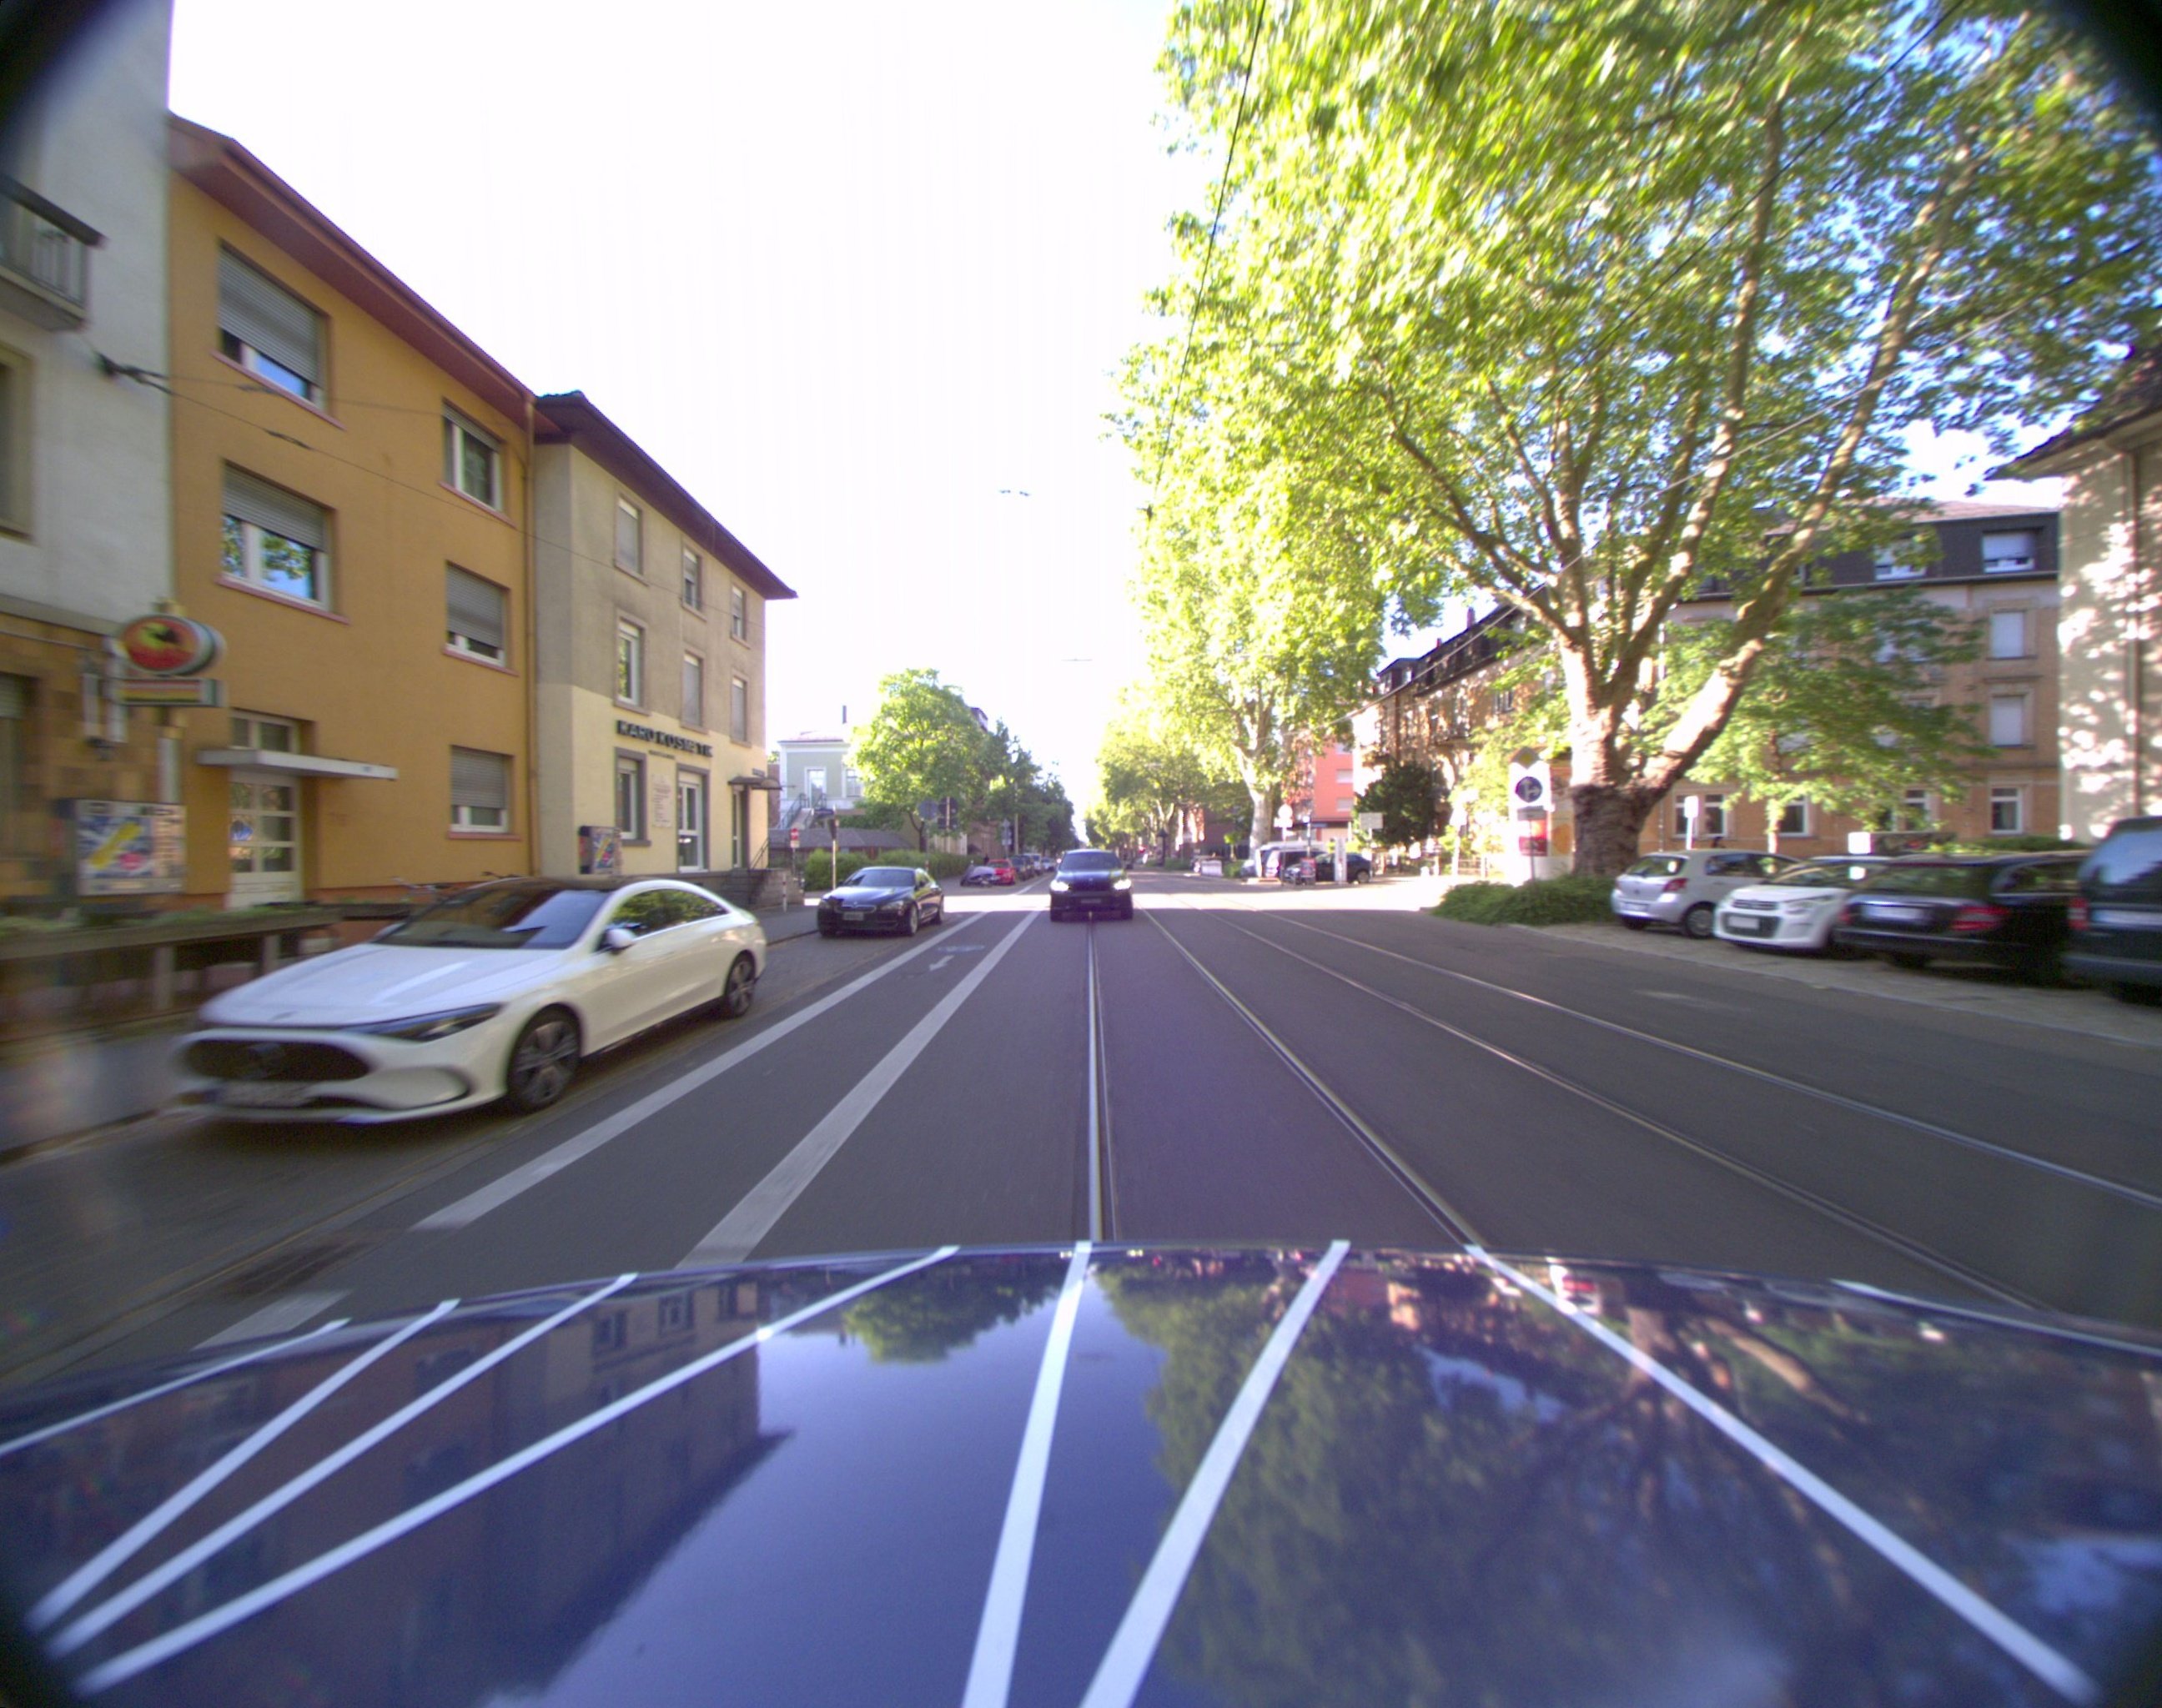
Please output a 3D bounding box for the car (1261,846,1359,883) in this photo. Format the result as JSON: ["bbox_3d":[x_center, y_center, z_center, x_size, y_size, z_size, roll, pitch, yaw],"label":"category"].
[{"bbox_3d":[11.961,0.543,39.876,4.464,1.755,2.028,-1,0,-1],"label":"car"}]

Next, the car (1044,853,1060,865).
[{"bbox_3d":[-3.675,0.639,96.549,1.781,1.490,4.372,1,0,1],"label":"car"}]

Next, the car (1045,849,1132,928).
[{"bbox_3d":[0.197,0.768,19.514,1.924,1.741,4.806,-1,0,1],"label":"car"}]

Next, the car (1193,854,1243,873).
[{"bbox_3d":[11.680,0.816,64.991,3.966,1.506,1.810,-1,0,-1],"label":"car"}]

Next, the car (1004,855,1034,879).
[{"bbox_3d":[-4.184,0.861,51.797,1.694,1.478,4.143,1,0,1],"label":"car"}]

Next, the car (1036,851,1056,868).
[{"bbox_3d":[-3.761,0.572,81.947,1.815,1.702,4.372,1,0,1],"label":"car"}]

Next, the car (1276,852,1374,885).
[{"bbox_3d":[11.894,0.693,37.224,4.170,1.506,1.925,-1,0,-1],"label":"car"}]

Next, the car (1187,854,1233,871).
[{"bbox_3d":[11.936,0.808,70.619,3.966,1.506,1.810,-1,0,-1],"label":"car"}]

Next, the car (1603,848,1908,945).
[{"bbox_3d":[11.636,0.707,13.338,3.689,1.545,1.704,-1,1,6],"label":"car"}]

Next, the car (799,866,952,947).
[{"bbox_3d":[-4.230,1.011,16.524,1.998,1.372,4.739,1,0,1],"label":"car"}]

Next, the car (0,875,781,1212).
[{"bbox_3d":[-4.422,1.014,6.166,1.998,1.485,4.740,1,0,1],"label":"car"}]

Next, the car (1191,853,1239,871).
[{"bbox_3d":[12.026,0.753,68.448,3.966,1.506,1.810,-1,0,-1],"label":"car"}]

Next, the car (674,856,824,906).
[{"bbox_3d":[-11.645,0.956,26.832,4.458,1.629,1.904,-1,-2,5],"label":"car"}]

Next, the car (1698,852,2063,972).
[{"bbox_3d":[11.308,0.756,10.898,3.693,1.477,1.701,-1,1,-6],"label":"car"}]

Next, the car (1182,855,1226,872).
[{"bbox_3d":[11.759,0.897,72.791,3.966,1.506,1.810,-1,0,-1],"label":"car"}]

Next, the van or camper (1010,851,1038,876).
[{"bbox_3d":[-4.226,0.692,56.824,1.694,1.772,4.443,1,0,1],"label":"van or camper"}]

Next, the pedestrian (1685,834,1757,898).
[{"bbox_3d":[16.196,0.292,19.256,1.093,1.568,1.028,-1,1,19],"label":"pedestrian"}]

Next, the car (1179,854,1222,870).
[{"bbox_3d":[11.838,0.829,75.648,3.966,1.506,1.810,-1,0,-1],"label":"car"}]

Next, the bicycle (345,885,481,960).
[{"bbox_3d":[-10.350,1.025,11.866,0.427,0.991,1.858,-1,0,1],"label":"bicycle"}]

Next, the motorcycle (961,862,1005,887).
[{"bbox_3d":[-5.047,1.052,39.121,2.071,1.152,0.828,2,1,4],"label":"motorcycle"}]

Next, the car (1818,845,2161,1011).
[{"bbox_3d":[11.146,0.746,8.755,3.692,1.615,1.799,-1,1,-4],"label":"car"}]

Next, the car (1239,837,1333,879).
[{"bbox_3d":[12.268,0.255,45.698,5.019,2.383,2.028,-1,0,-1],"label":"car"}]

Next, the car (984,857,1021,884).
[{"bbox_3d":[-4.344,0.888,42.673,1.607,1.372,3.864,1,0,1],"label":"car"}]

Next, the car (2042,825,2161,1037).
[{"bbox_3d":[11.031,0.616,6.405,3.691,1.804,1.704,-1,1,0],"label":"car"}]

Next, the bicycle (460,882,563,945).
[{"bbox_3d":[-10.281,1.047,13.810,0.427,0.991,1.858,-1,0,1],"label":"bicycle"}]

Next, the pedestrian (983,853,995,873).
[{"bbox_3d":[-7.770,0.755,64.178,0.813,1.669,0.885,-1,1,0],"label":"pedestrian"}]

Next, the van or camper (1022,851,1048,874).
[{"bbox_3d":[-3.994,0.686,66.398,1.882,1.873,4.922,1,0,1],"label":"van or camper"}]
